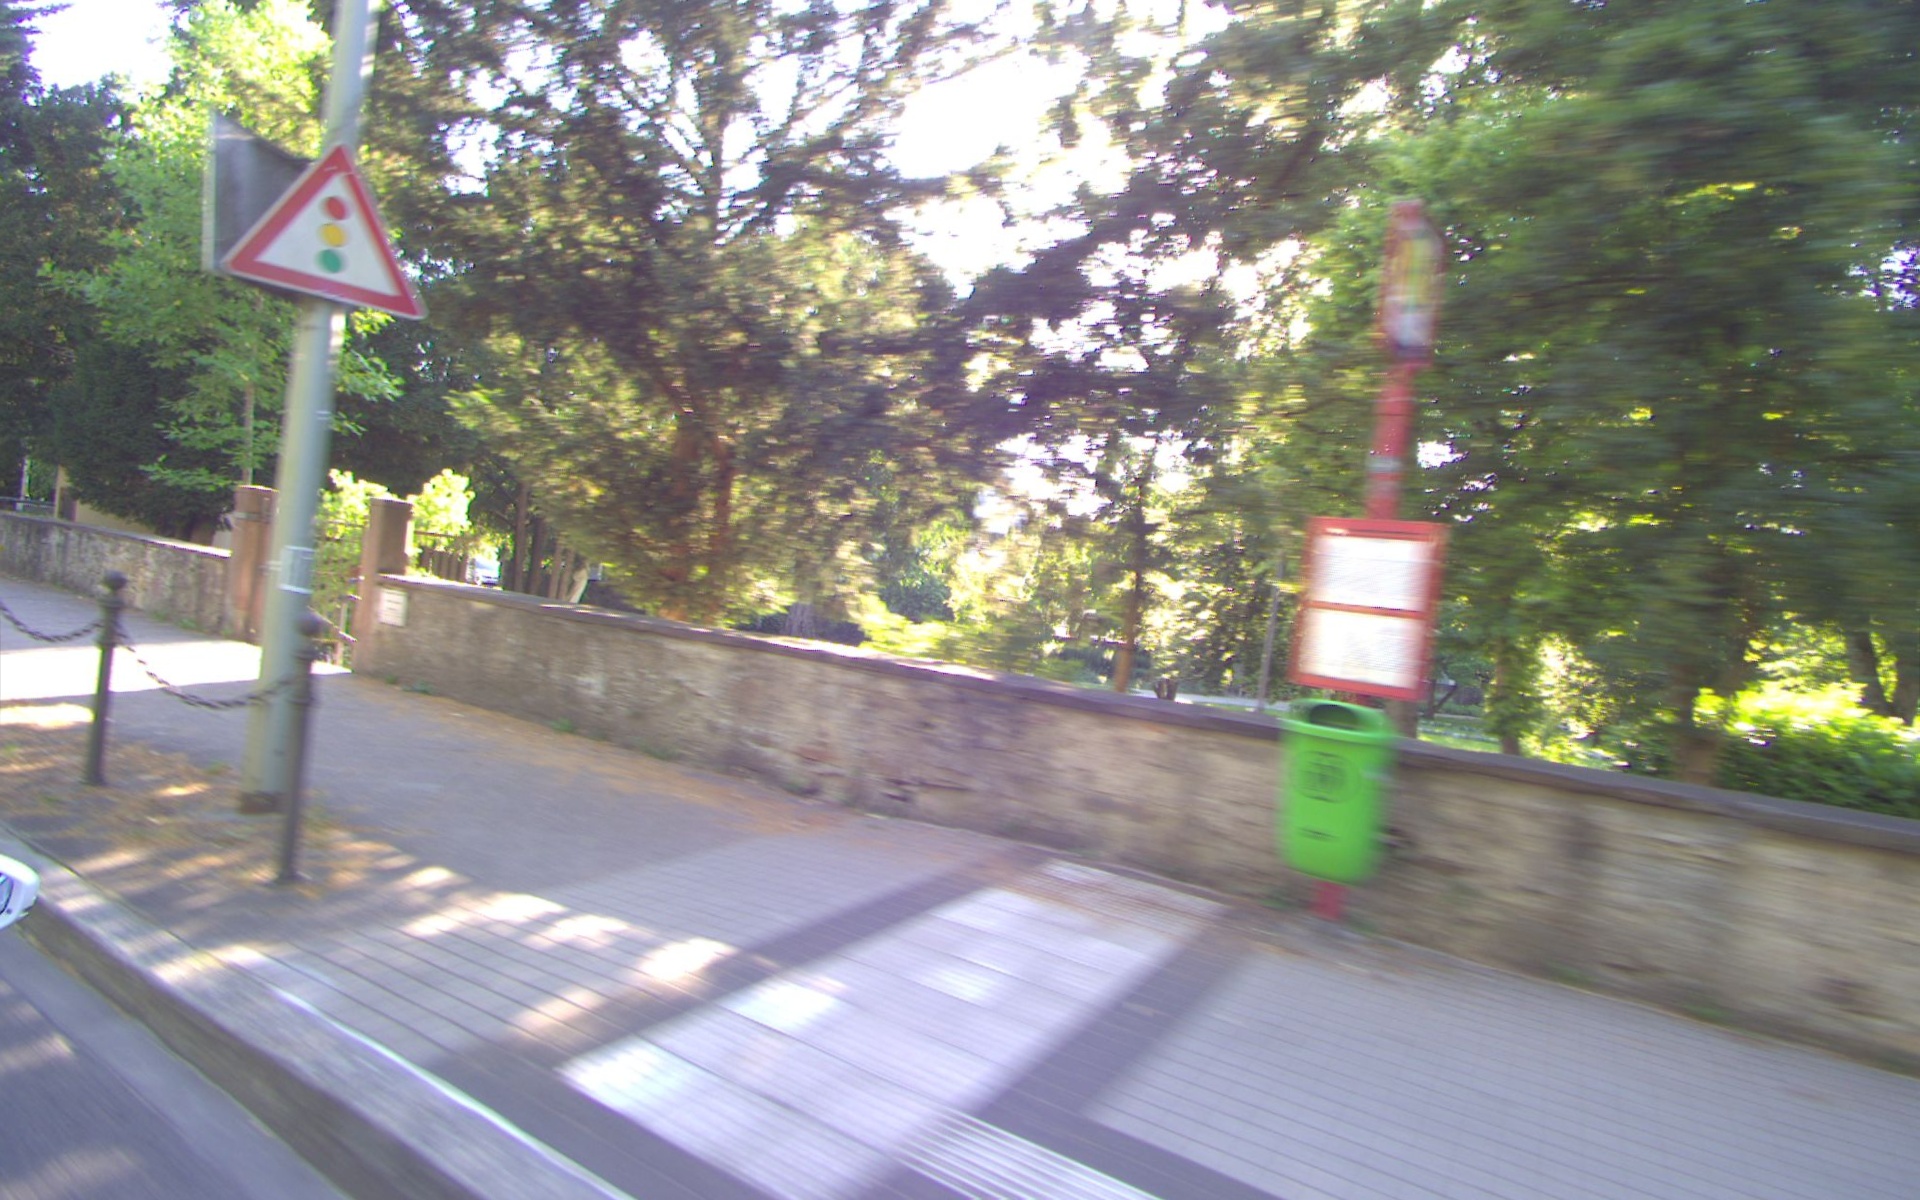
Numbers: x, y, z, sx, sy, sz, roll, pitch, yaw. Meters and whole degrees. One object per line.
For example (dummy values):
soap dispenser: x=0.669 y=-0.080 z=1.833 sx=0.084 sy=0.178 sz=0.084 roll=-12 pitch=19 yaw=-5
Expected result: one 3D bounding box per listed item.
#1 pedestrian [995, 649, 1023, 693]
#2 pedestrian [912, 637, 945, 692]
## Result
pedestrian: x=1.973 y=2.861 z=40.329 sx=0.748 sy=1.636 sz=0.565 roll=7 pitch=-2 yaw=34
pedestrian: x=-1.020 y=2.079 z=32.277 sx=0.626 sy=1.659 sz=0.615 roll=7 pitch=-2 yaw=33
